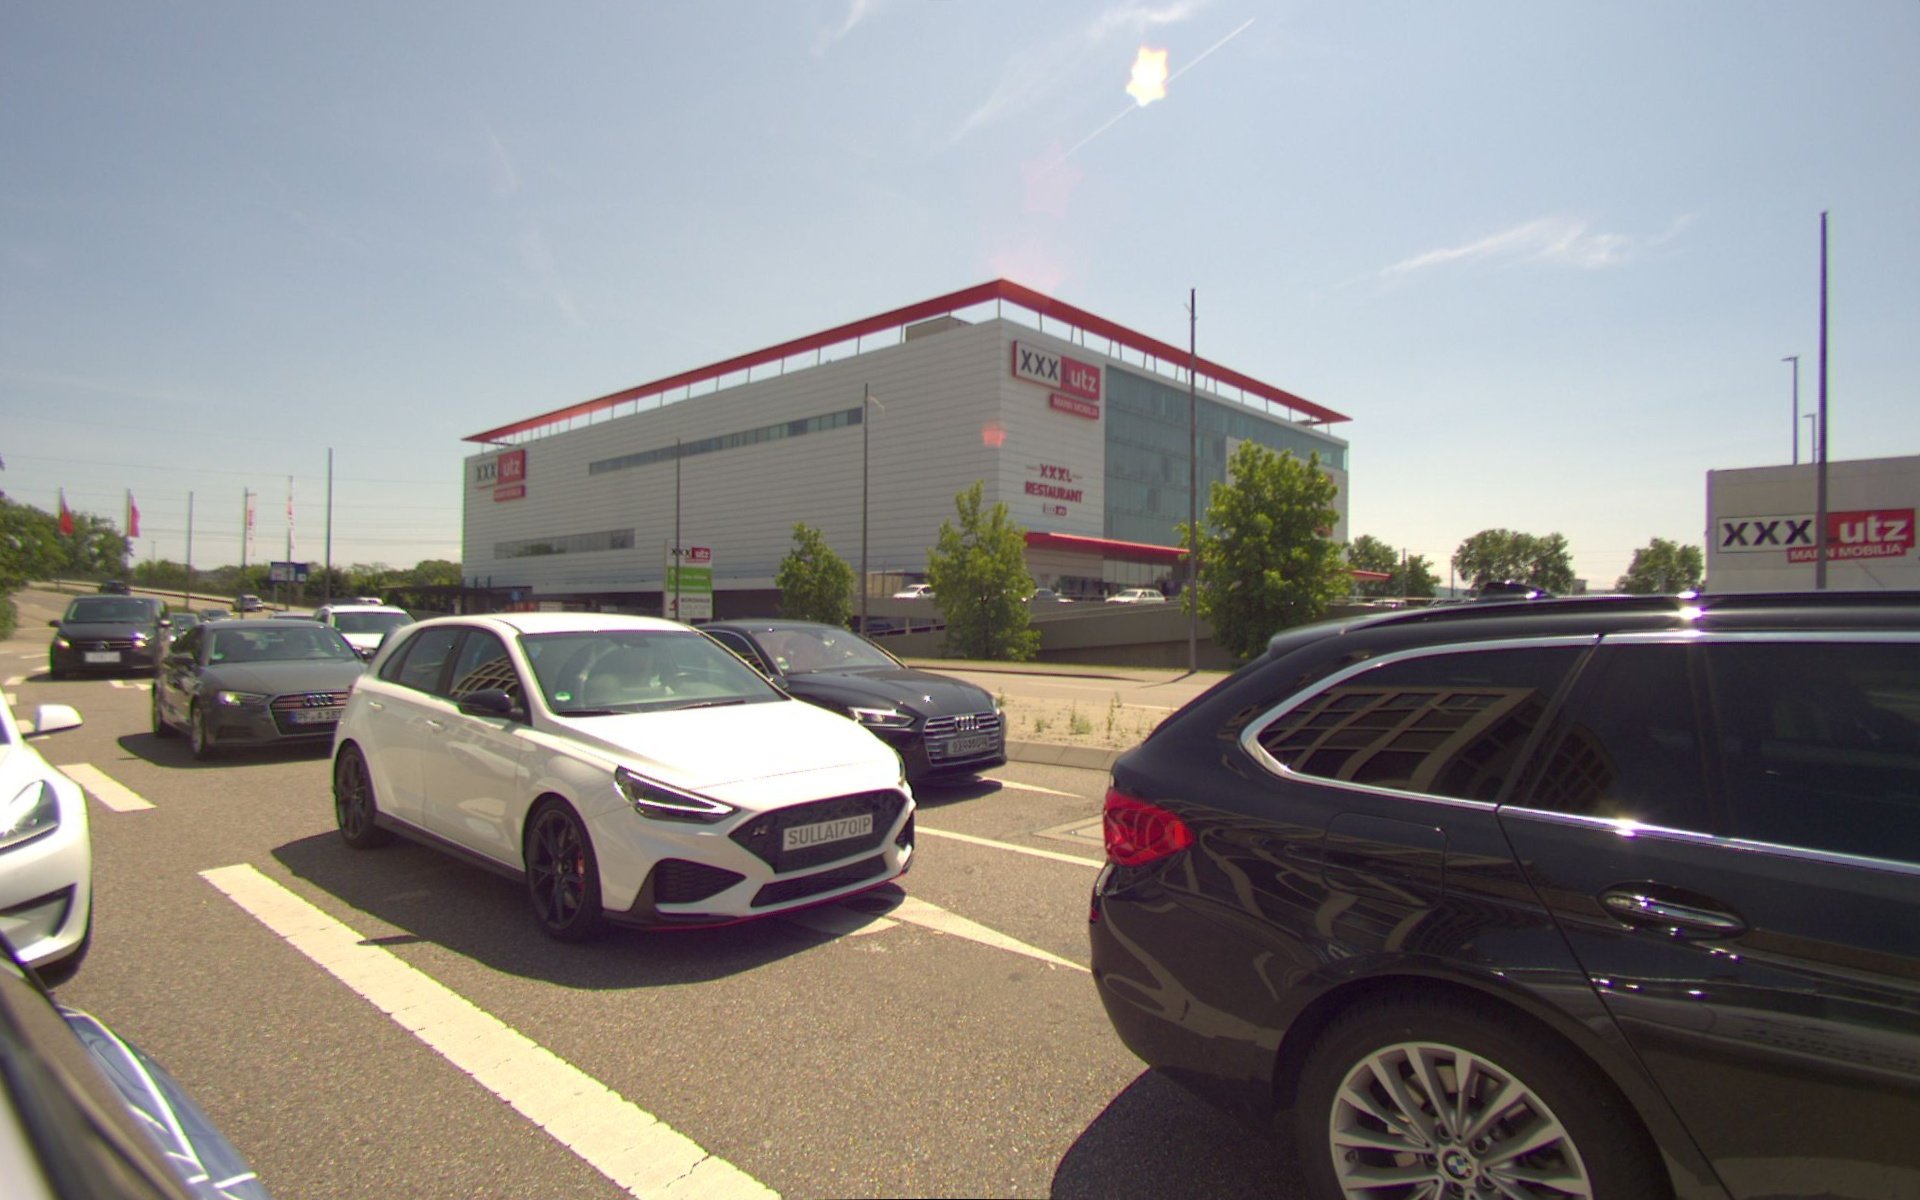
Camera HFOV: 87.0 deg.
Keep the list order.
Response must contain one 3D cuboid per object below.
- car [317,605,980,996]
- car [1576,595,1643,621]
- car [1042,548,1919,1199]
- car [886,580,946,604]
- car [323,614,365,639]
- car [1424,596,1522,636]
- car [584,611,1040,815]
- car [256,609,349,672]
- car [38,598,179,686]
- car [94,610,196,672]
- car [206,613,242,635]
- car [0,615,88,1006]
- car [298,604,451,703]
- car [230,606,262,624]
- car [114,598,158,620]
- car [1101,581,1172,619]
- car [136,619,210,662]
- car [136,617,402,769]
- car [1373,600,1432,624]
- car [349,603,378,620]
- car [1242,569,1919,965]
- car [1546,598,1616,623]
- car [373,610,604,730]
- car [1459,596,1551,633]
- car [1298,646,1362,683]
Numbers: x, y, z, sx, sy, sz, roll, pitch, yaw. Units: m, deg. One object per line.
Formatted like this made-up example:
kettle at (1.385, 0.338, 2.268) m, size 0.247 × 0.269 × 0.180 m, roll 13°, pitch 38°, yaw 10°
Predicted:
car at (-2.008, 0.776, 5.799) m, size 4.068 × 1.447 × 1.769 m, roll -1°, pitch -1°, yaw 41°
car at (52.880, 0.670, 82.420) m, size 4.328 × 2.029 × 1.972 m, roll 0°, pitch -2°, yaw 42°
car at (2.507, 0.651, 1.743) m, size 4.553 × 1.451 × 1.779 m, roll -1°, pitch -1°, yaw 40°
car at (-2.950, -0.530, 69.020) m, size 3.940 × 1.519 × 1.719 m, roll 2°, pitch -2°, yaw -44°
car at (-44.070, 1.858, 72.346) m, size 1.839 × 1.736 × 4.048 m, roll 2°, pitch -2°, yaw -42°
car at (26.939, 0.856, 53.166) m, size 4.323 × 2.029 × 1.974 m, roll 0°, pitch -2°, yaw 38°
car at (-1.549, 0.853, 9.225) m, size 4.466 × 1.415 × 1.654 m, roll -2°, pitch -1°, yaw 42°
car at (-16.460, 0.973, 25.271) m, size 1.741 × 1.433 × 3.908 m, roll -1°, pitch -1°, yaw -36°
car at (-19.687, 0.916, 23.607) m, size 1.865 × 1.835 × 4.850 m, roll 1°, pitch -1°, yaw -33°
car at (-23.458, 1.154, 29.255) m, size 1.784 × 1.652 × 4.011 m, roll 1°, pitch -2°, yaw -32°
car at (-55.507, 1.823, 76.281) m, size 1.701 × 1.564 × 4.005 m, roll 3°, pitch -3°, yaw -42°
car at (-5.600, 0.810, 4.680) m, size 4.282 × 1.447 × 1.800 m, roll -1°, pitch 0°, yaw 41°
car at (-11.278, 0.933, 19.340) m, size 1.743 × 1.653 × 4.498 m, roll 0°, pitch 0°, yaw -40°
car at (-71.222, 1.536, 100.902) m, size 4.044 × 1.736 × 1.841 m, roll -2°, pitch -3°, yaw 44°
car at (-75.052, 0.801, 92.172) m, size 3.988 × 1.918 × 1.978 m, roll -1°, pitch 0°, yaw 33°
car at (10.064, 0.050, 57.564) m, size 4.407 × 2.029 × 1.680 m, roll 2°, pitch -2°, yaw -44°
car at (-28.197, 1.433, 36.349) m, size 1.582 × 1.451 × 3.744 m, roll 1°, pitch -2°, yaw -30°
car at (-7.870, 0.896, 11.367) m, size 1.744 × 1.393 × 4.092 m, roll 2°, pitch -2°, yaw -45°
car at (36.016, 0.966, 82.443) m, size 4.000 × 1.915 × 1.972 m, roll -1°, pitch -2°, yaw 43°
car at (-79.734, 1.540, 135.307) m, size 4.815 × 2.300 × 2.162 m, roll -1°, pitch -2°, yaw 44°
car at (3.568, 0.616, 4.721) m, size 4.009 × 1.433 × 1.674 m, roll -2°, pitch -1°, yaw 43°
car at (45.283, 0.746, 73.820) m, size 4.134 × 1.754 × 1.759 m, roll 0°, pitch -2°, yaw 42°
car at (-7.044, 0.925, 14.872) m, size 1.744 × 1.413 × 4.435 m, roll -3°, pitch 1°, yaw -43°
car at (30.838, 0.837, 57.303) m, size 4.323 × 2.029 × 1.975 m, roll 0°, pitch -2°, yaw 38°
car at (19.023, 3.272, 51.911) m, size 1.997 × 1.719 × 3.949 m, roll -1°, pitch -2°, yaw 38°
